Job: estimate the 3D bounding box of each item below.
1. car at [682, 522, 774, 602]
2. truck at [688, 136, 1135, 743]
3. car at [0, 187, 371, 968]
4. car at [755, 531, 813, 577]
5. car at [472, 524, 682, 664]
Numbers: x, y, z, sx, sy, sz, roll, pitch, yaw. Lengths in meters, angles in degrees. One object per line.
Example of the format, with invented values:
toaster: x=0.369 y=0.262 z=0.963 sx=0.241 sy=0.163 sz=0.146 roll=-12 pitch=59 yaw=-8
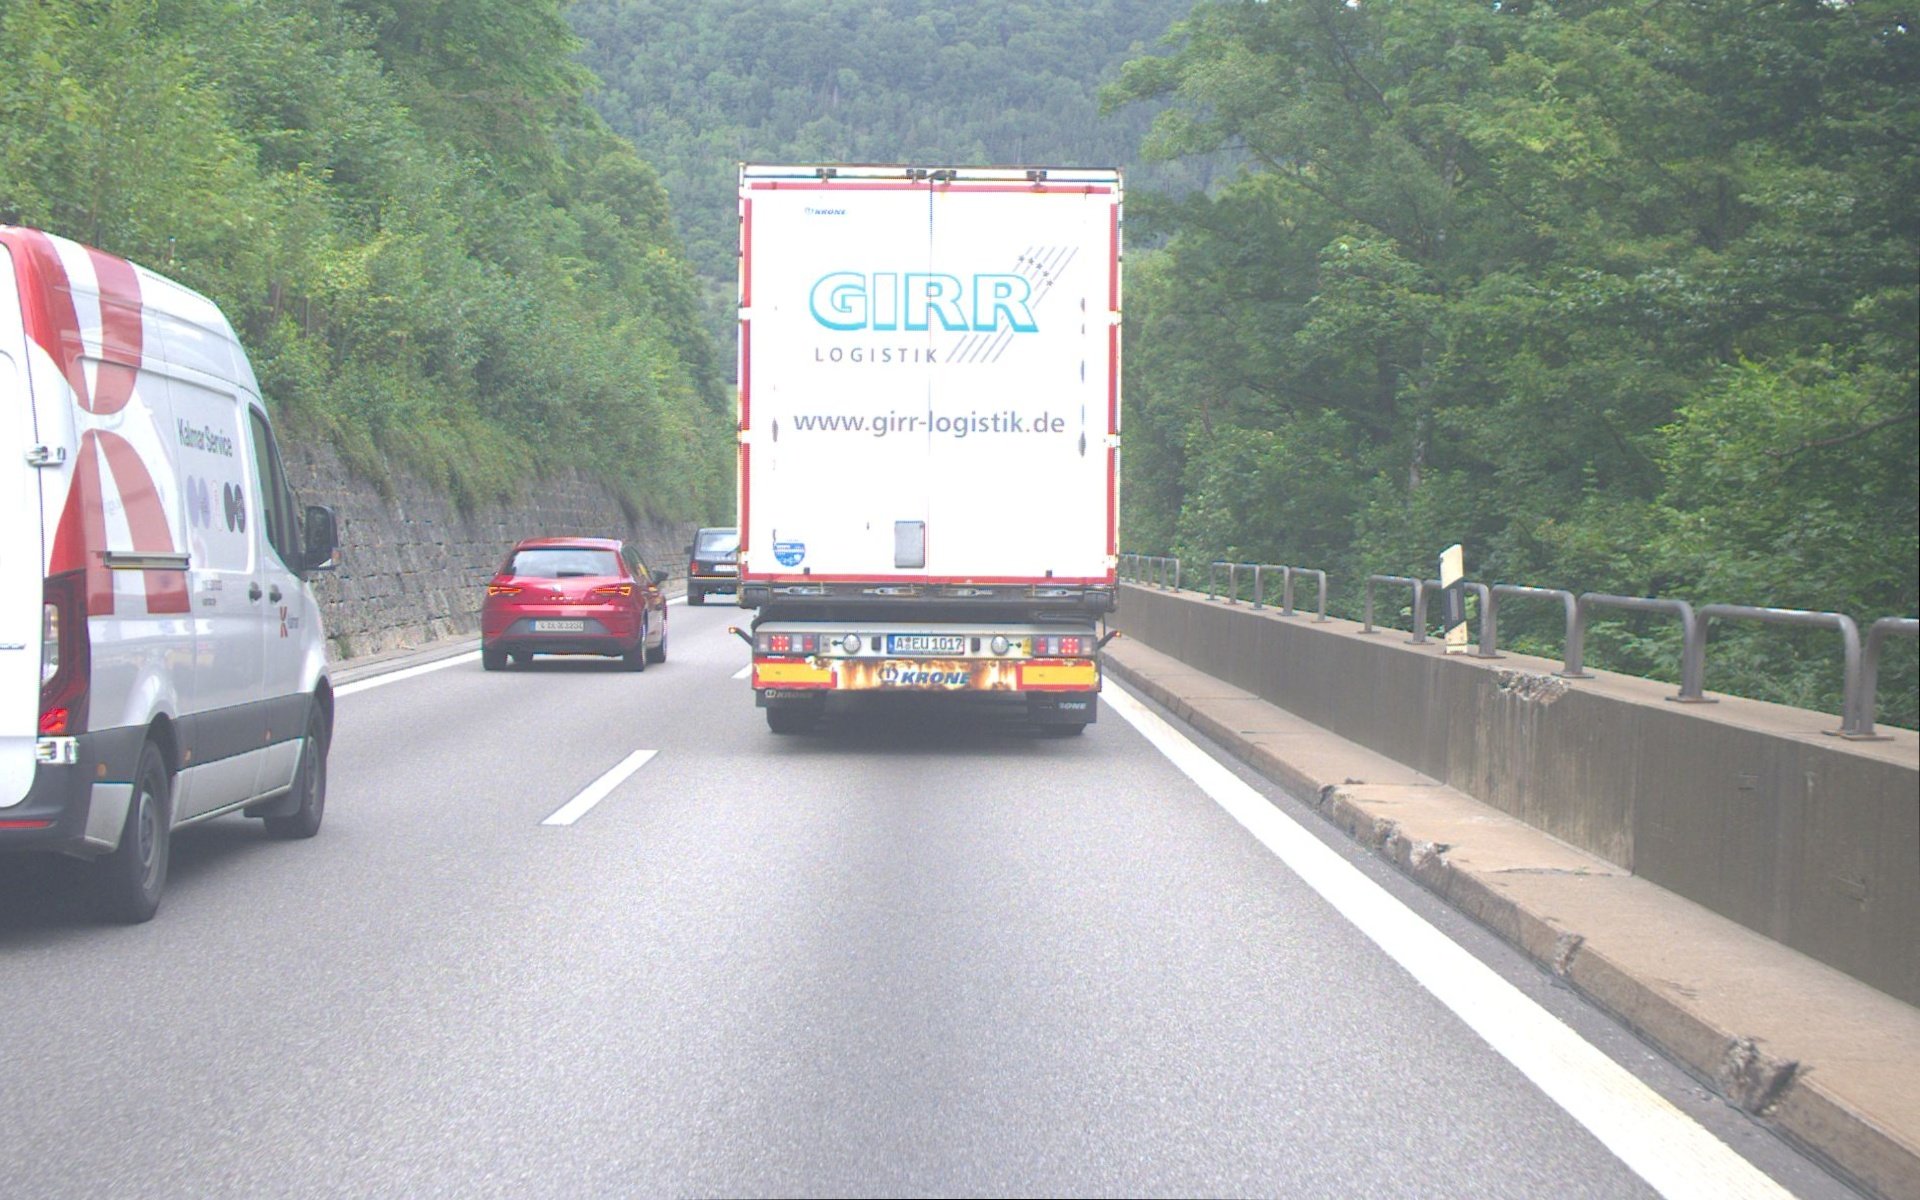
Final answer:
car: x=-4.824 y=-0.797 z=71.831 sx=1.669 sy=1.633 sz=4.068 roll=0 pitch=1 yaw=-1
truck: x=-0.292 y=-1.117 z=27.056 sx=2.909 sy=3.947 sz=9.279 roll=0 pitch=1 yaw=0
car: x=-4.013 y=-0.105 z=14.477 sx=2.026 sy=2.576 sz=6.275 roll=0 pitch=1 yaw=0
car: x=-5.742 y=-1.503 z=112.285 sx=1.729 sy=1.481 sz=4.000 roll=0 pitch=1 yaw=-1
car: x=-4.183 y=-0.092 z=38.142 sx=1.766 sy=1.455 sz=4.411 roll=0 pitch=1 yaw=1
